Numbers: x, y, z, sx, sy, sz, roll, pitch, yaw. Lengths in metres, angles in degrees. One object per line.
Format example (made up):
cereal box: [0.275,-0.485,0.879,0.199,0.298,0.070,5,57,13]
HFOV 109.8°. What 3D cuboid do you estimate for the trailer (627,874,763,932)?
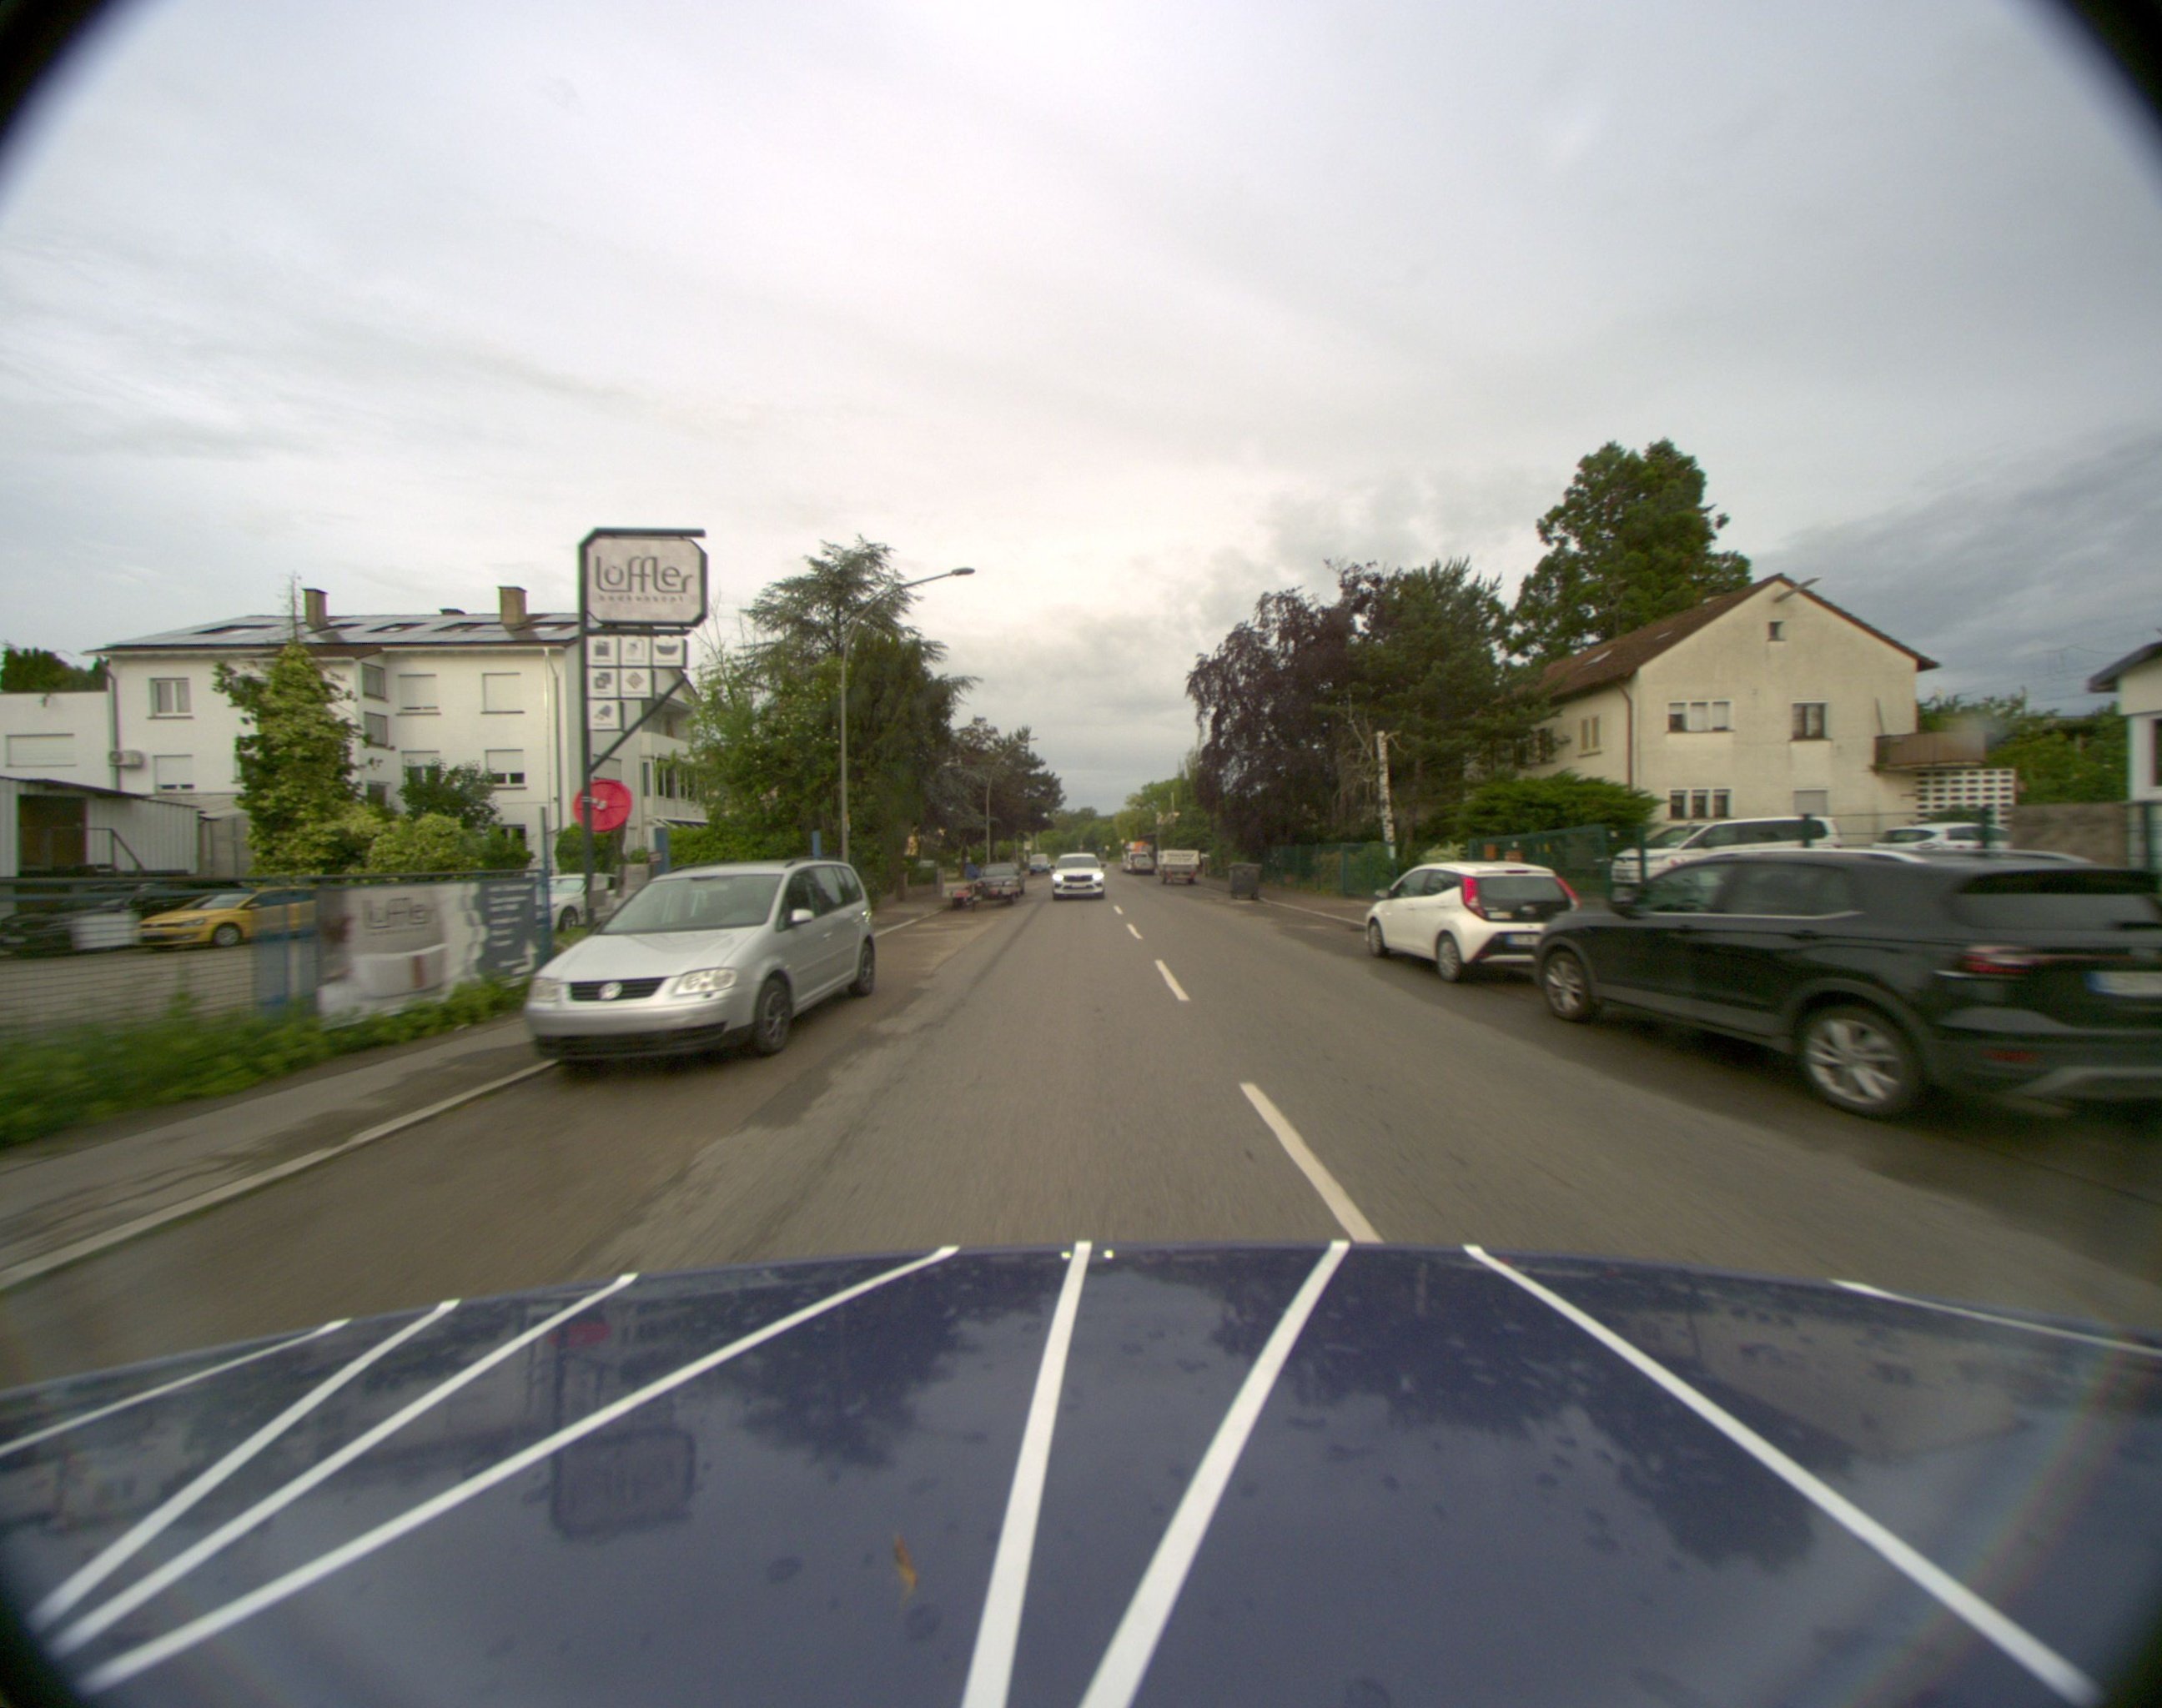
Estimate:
trailer: [-10.553,1.298,21.111,1.619,1.268,3.892,-2,1,3]

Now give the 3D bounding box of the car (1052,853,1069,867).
car: [-2.238,0.635,84.615,1.743,1.458,3.838,-3,1,-1]

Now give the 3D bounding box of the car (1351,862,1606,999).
car: [5.197,0.897,10.519,1.620,1.500,3.660,0,0,0]

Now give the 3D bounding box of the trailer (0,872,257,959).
trailer: [-24.646,1.482,19.659,1.999,1.802,4.401,-3,1,-6]

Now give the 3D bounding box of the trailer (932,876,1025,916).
trailer: [-3.235,1.313,25.421,2.179,0.892,6.636,-3,0,0]

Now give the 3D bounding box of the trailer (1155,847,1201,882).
trailer: [5.349,0.560,42.434,1.934,1.755,4.548,-2,0,0]

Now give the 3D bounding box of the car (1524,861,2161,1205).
car: [5.261,0.875,5.579,1.665,1.575,3.915,0,0,-1]

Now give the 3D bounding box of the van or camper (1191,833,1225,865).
van or camper: [12.916,-0.478,77.705,2.309,3.018,6.150,-3,1,-1]

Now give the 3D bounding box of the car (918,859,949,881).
car: [-10.791,1.124,55.898,1.749,1.479,4.116,-2,0,-5]

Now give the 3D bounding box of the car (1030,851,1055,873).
car: [-3.480,0.722,69.773,1.736,1.817,5.553,-4,0,1]

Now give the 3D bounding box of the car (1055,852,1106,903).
car: [-0.080,0.810,28.363,1.692,1.651,3.999,-3,1,-2]

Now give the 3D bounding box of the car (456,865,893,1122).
car: [-3.352,1.004,7.439,1.743,1.612,4.373,-3,1,2]

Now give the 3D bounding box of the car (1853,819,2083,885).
car: [23.839,-0.059,20.545,3.996,1.543,1.785,-3,1,2]

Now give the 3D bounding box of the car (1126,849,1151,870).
car: [5.169,0.472,68.522,1.898,1.881,5.210,0,0,0]

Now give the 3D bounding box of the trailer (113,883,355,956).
trailer: [-21.809,1.623,19.862,1.644,1.456,4.094,-3,1,0]

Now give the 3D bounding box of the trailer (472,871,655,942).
trailer: [-13.681,1.312,20.507,1.773,1.511,4.803,-1,0,-3]

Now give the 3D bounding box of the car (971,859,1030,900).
car: [-3.285,1.006,31.950,1.744,1.424,4.648,-4,0,2]

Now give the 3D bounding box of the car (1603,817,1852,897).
car: [17.512,0.078,20.798,5.010,1.846,2.000,-3,1,2]

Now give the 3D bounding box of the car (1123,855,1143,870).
car: [5.113,0.821,74.629,1.642,1.357,4.706,0,0,0]

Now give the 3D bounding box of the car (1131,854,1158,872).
car: [5.246,0.697,63.086,1.821,1.419,4.980,0,0,0]

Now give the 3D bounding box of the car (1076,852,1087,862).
car: [0.159,0.541,132.104,1.898,1.678,4.230,0,0,0]

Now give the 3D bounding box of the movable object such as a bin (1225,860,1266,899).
movable object such as a bin: [5.874,0.892,27.150,1.103,1.303,1.425,-3,1,0]
